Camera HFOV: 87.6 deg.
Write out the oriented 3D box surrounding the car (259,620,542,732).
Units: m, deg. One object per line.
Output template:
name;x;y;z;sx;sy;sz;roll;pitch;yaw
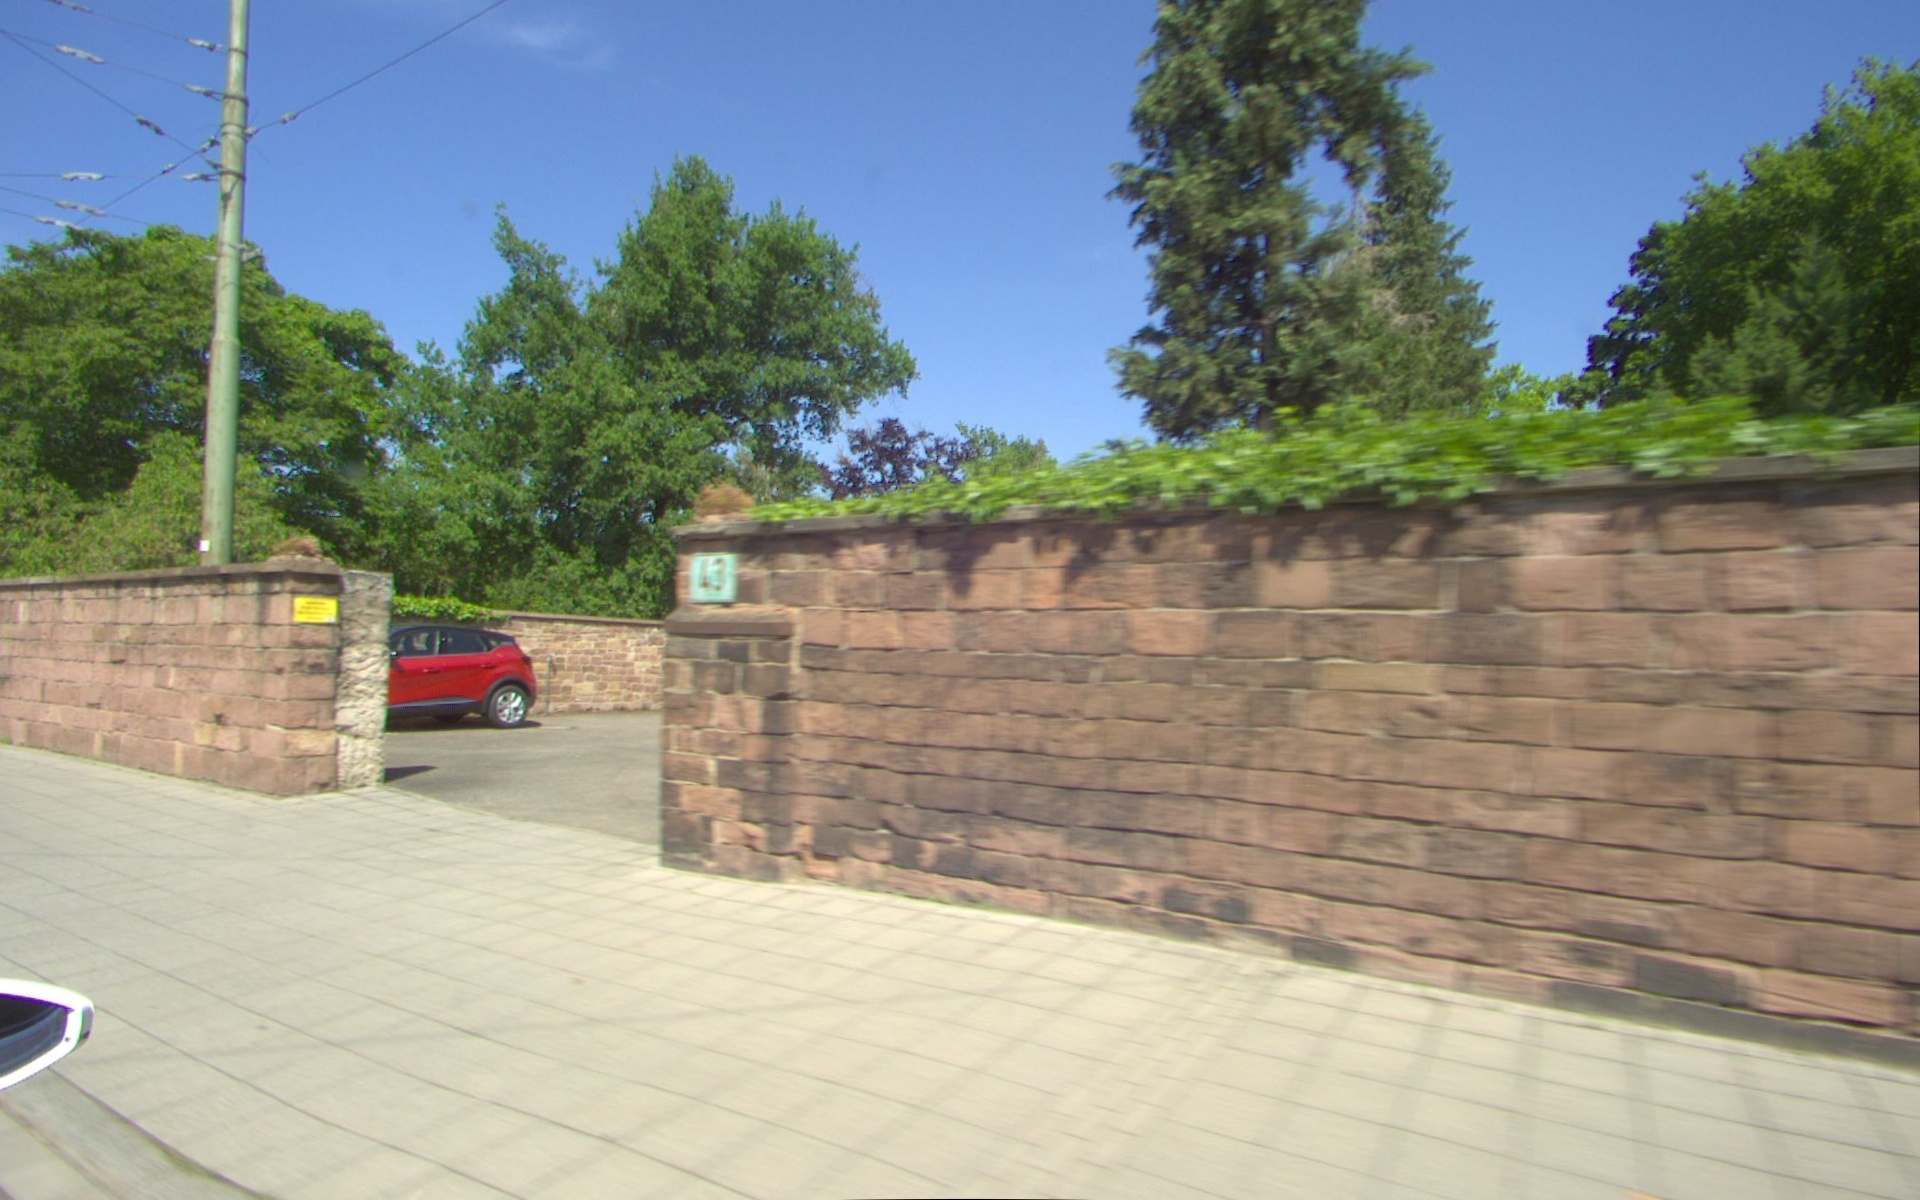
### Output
car;-8.305;1.125;15.145;1.502;1.482;3.405;0;-4;31
